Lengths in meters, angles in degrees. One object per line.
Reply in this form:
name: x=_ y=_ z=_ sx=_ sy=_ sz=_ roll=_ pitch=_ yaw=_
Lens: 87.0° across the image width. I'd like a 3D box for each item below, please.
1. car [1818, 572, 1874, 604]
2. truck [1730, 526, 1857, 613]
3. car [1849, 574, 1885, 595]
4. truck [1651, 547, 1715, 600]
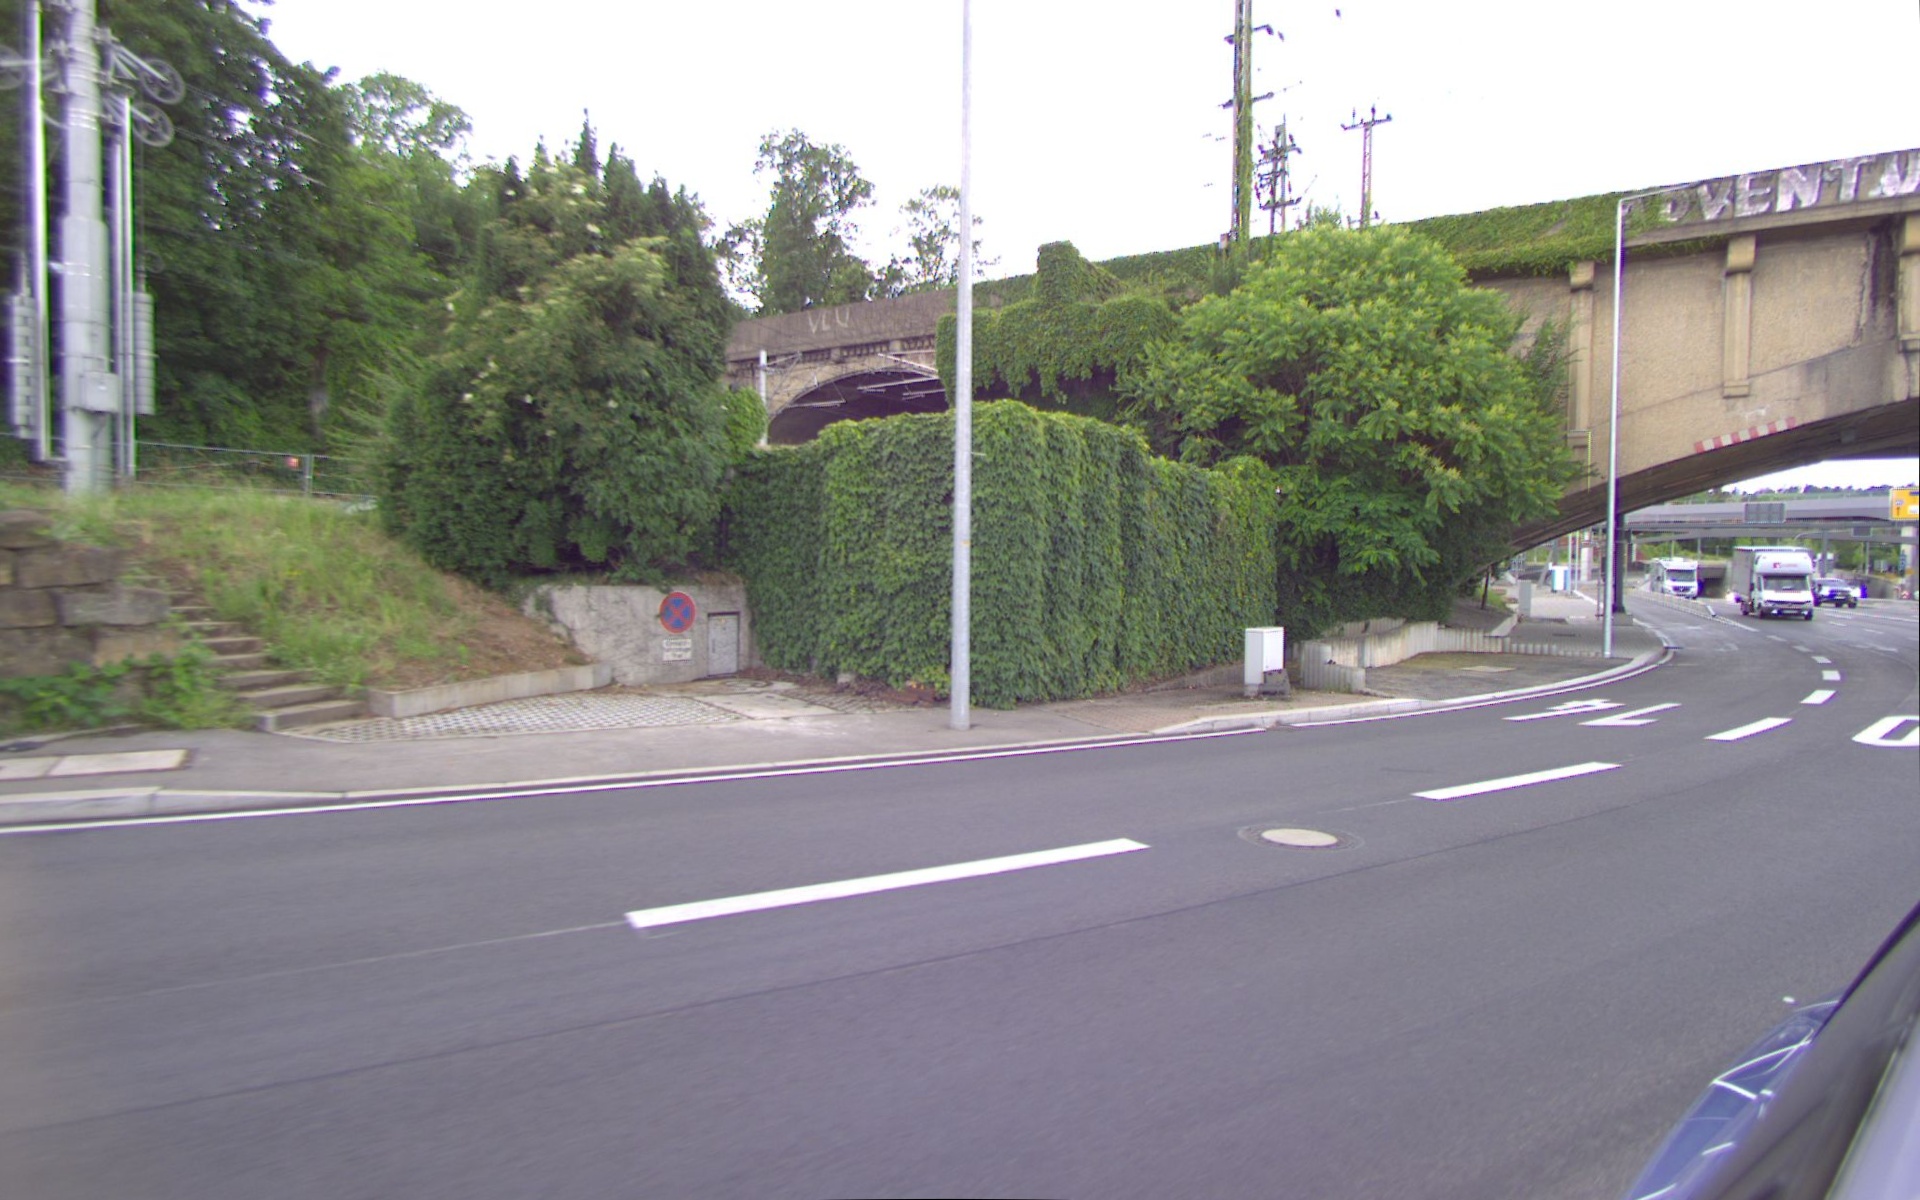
car: x=53.676 y=-0.747 z=61.382 sx=1.855 sy=1.861 sz=4.158 roll=1 pitch=1 yaw=32
truck: x=39.451 y=-1.336 z=48.255 sx=3.008 sy=3.633 sz=8.857 roll=-3 pitch=-1 yaw=30
car: x=109.723 y=-1.876 z=122.462 sx=2.280 sy=2.522 sz=6.124 roll=-1 pitch=1 yaw=33
truck: x=53.149 y=-1.916 z=74.582 sx=2.551 sy=3.613 sz=9.028 roll=0 pitch=1 yaw=28
